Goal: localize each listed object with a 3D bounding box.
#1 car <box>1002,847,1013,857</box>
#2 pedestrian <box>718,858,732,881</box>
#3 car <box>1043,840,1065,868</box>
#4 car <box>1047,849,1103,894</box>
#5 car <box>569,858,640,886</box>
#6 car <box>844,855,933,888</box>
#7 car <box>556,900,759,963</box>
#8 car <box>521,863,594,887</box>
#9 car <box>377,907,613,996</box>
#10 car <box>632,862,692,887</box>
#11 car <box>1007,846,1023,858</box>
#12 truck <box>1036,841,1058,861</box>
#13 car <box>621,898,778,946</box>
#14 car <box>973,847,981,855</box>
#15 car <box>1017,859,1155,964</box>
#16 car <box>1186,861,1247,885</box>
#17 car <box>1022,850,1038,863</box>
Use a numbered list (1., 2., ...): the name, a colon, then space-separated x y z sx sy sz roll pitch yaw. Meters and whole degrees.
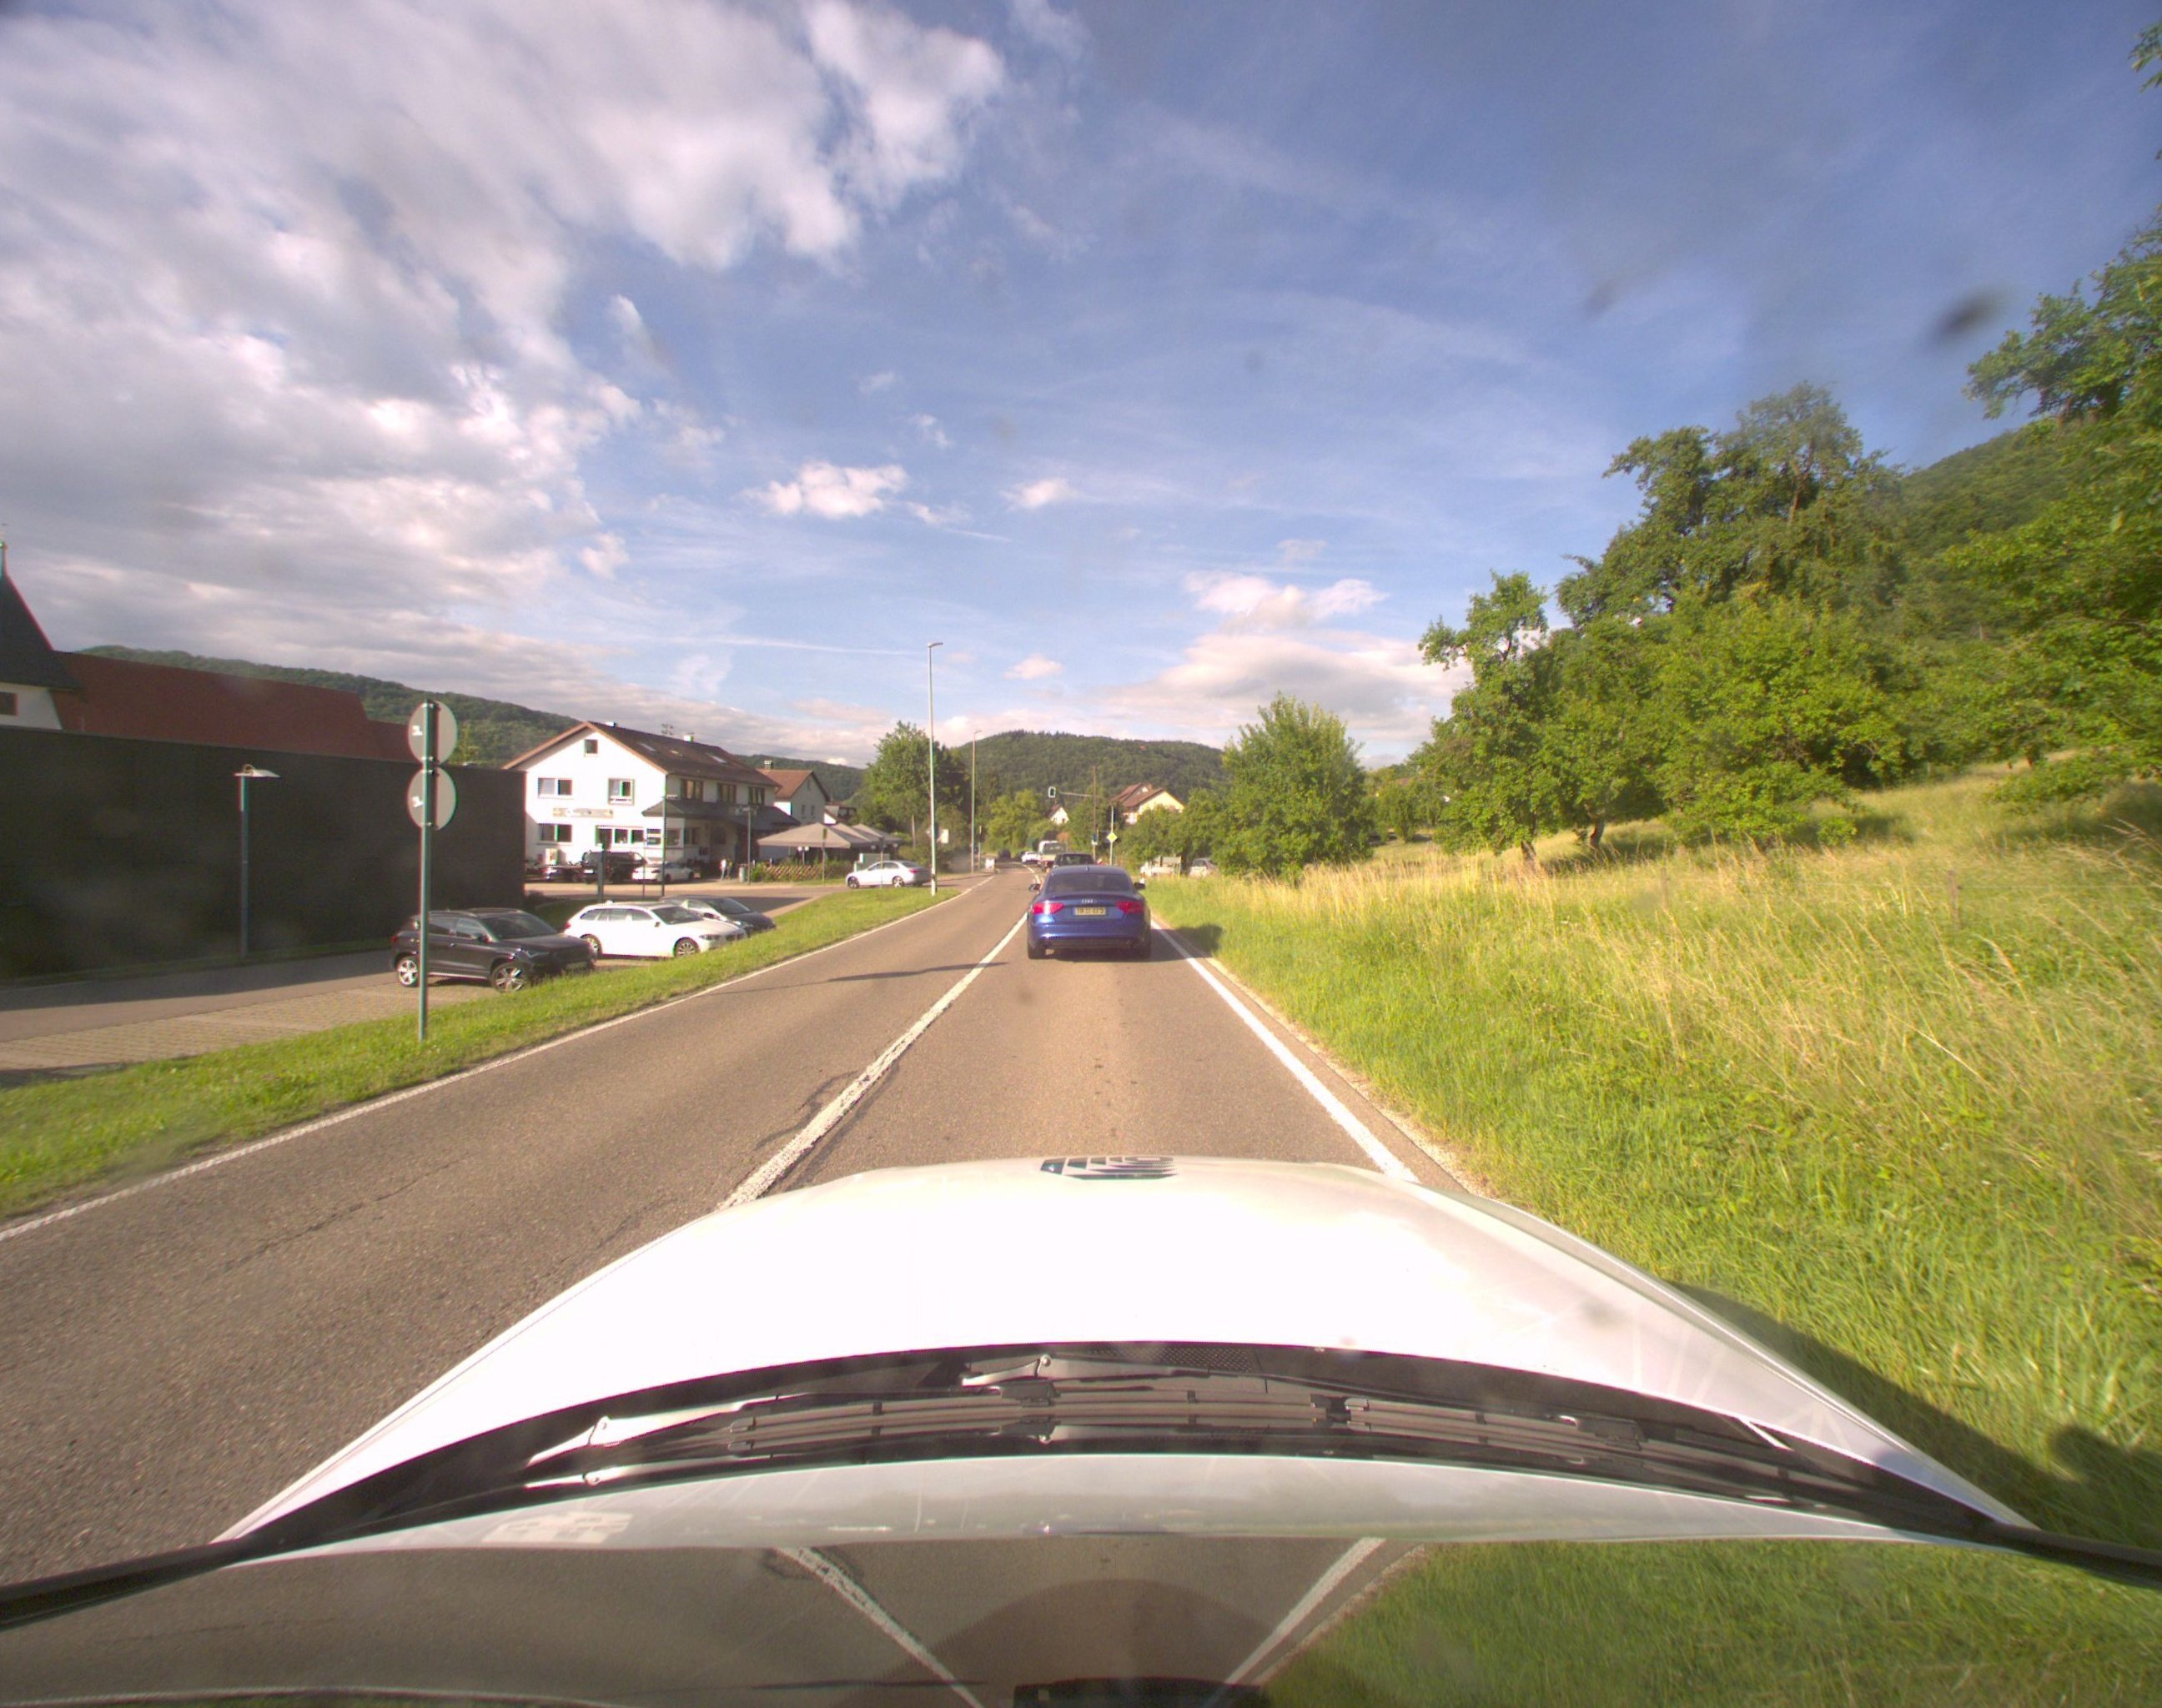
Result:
1. car: -11.578 -0.245 127.934 1.695 1.490 3.520 0 -1 -5
2. pedestrian: -23.277 1.036 53.241 0.606 1.503 0.590 0 -1 1
3. car: -2.141 0.022 64.363 1.742 2.195 3.996 0 -1 -2
4. car: -0.171 0.662 31.863 1.737 1.639 4.007 0 -1 6
5. car: -28.914 1.076 49.536 1.880 1.662 4.001 0 -1 2
6. car: -10.021 0.893 42.317 4.407 1.639 1.821 -1 -1 28
7. car: -11.436 2.050 22.068 4.780 1.493 1.888 -1 -1 13
8. car: -31.750 1.249 49.533 1.835 1.354 4.000 0 -1 1
9. car: -12.660 2.047 17.713 3.996 1.637 2.007 -1 -1 13
10. car: -25.711 1.246 50.140 1.550 1.450 4.001 0 -1 2
11. car: -8.735 -0.209 107.761 1.698 1.490 3.513 0 -1 -11
12. truck: -3.429 -0.264 81.358 1.696 1.953 5.907 0 -1 -7
13. car: -11.511 2.015 24.702 3.963 1.310 1.765 0 -1 9
14. car: -20.494 -0.585 160.207 1.625 1.576 3.669 0 -1 -8
15. car: 0.235 0.811 13.091 1.786 1.388 4.007 -1 -1 6
16. car: 8.686 1.187 52.148 3.746 1.478 1.612 0 -1 -34
17. car: -6.165 0.280 98.039 1.696 1.490 3.517 0 -1 -7
